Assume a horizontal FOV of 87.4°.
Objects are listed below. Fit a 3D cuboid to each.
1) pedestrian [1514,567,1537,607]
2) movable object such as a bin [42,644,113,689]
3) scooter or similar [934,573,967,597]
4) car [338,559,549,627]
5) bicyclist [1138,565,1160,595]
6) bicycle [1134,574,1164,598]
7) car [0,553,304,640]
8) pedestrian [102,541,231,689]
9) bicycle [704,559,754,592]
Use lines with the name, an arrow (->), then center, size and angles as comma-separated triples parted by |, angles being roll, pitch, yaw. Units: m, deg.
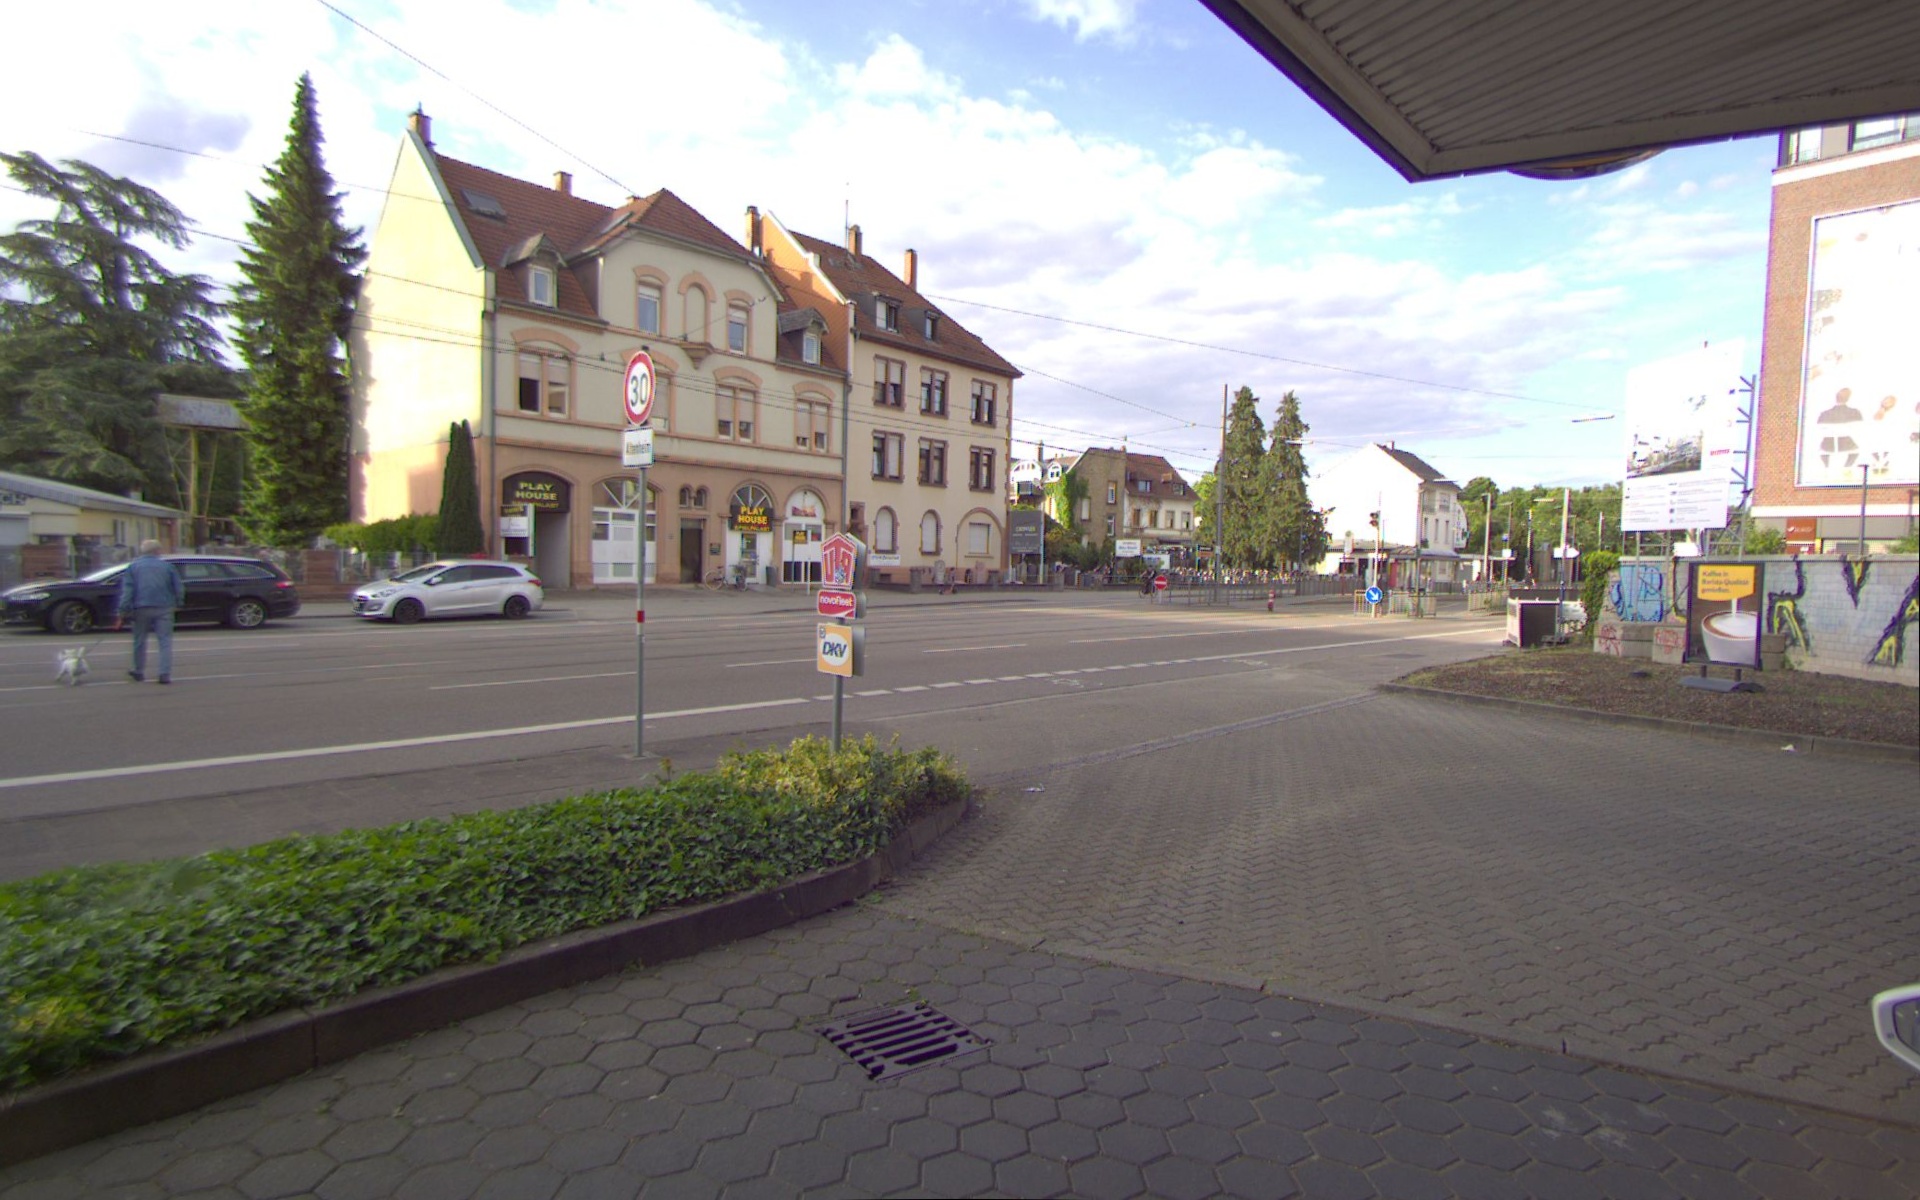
pedestrian -> 29.685, -0.676, 52.726 | 0.797, 2.040, 0.845 | 2, 0, 44
movable object such as a bin -> -10.451, 0.777, 11.895 | 0.668, 0.426, 0.479 | 5, 4, 35
scooter or similar -> -0.435, -0.656, 45.114 | 0.461, 1.041, 1.655 | 4, 3, 40
car -> -12.919, -0.230, 25.359 | 1.699, 1.503, 4.434 | 4, 4, 40
bicyclist -> 9.888, -1.062, 52.454 | 0.670, 1.555, 1.080 | 2, 2, 40
bicycle -> 9.879, -0.728, 52.464 | 0.670, 1.239, 1.910 | 2, 2, 40
car -> -16.600, -0.136, 20.737 | 1.983, 1.520, 4.755 | 4, 4, 39
pedestrian -> -9.718, 0.148, 12.318 | 0.955, 1.690, 1.000 | 4, 4, 34
bicycle -> -9.106, -0.948, 39.613 | 0.665, 1.229, 1.862 | 4, 2, 41
